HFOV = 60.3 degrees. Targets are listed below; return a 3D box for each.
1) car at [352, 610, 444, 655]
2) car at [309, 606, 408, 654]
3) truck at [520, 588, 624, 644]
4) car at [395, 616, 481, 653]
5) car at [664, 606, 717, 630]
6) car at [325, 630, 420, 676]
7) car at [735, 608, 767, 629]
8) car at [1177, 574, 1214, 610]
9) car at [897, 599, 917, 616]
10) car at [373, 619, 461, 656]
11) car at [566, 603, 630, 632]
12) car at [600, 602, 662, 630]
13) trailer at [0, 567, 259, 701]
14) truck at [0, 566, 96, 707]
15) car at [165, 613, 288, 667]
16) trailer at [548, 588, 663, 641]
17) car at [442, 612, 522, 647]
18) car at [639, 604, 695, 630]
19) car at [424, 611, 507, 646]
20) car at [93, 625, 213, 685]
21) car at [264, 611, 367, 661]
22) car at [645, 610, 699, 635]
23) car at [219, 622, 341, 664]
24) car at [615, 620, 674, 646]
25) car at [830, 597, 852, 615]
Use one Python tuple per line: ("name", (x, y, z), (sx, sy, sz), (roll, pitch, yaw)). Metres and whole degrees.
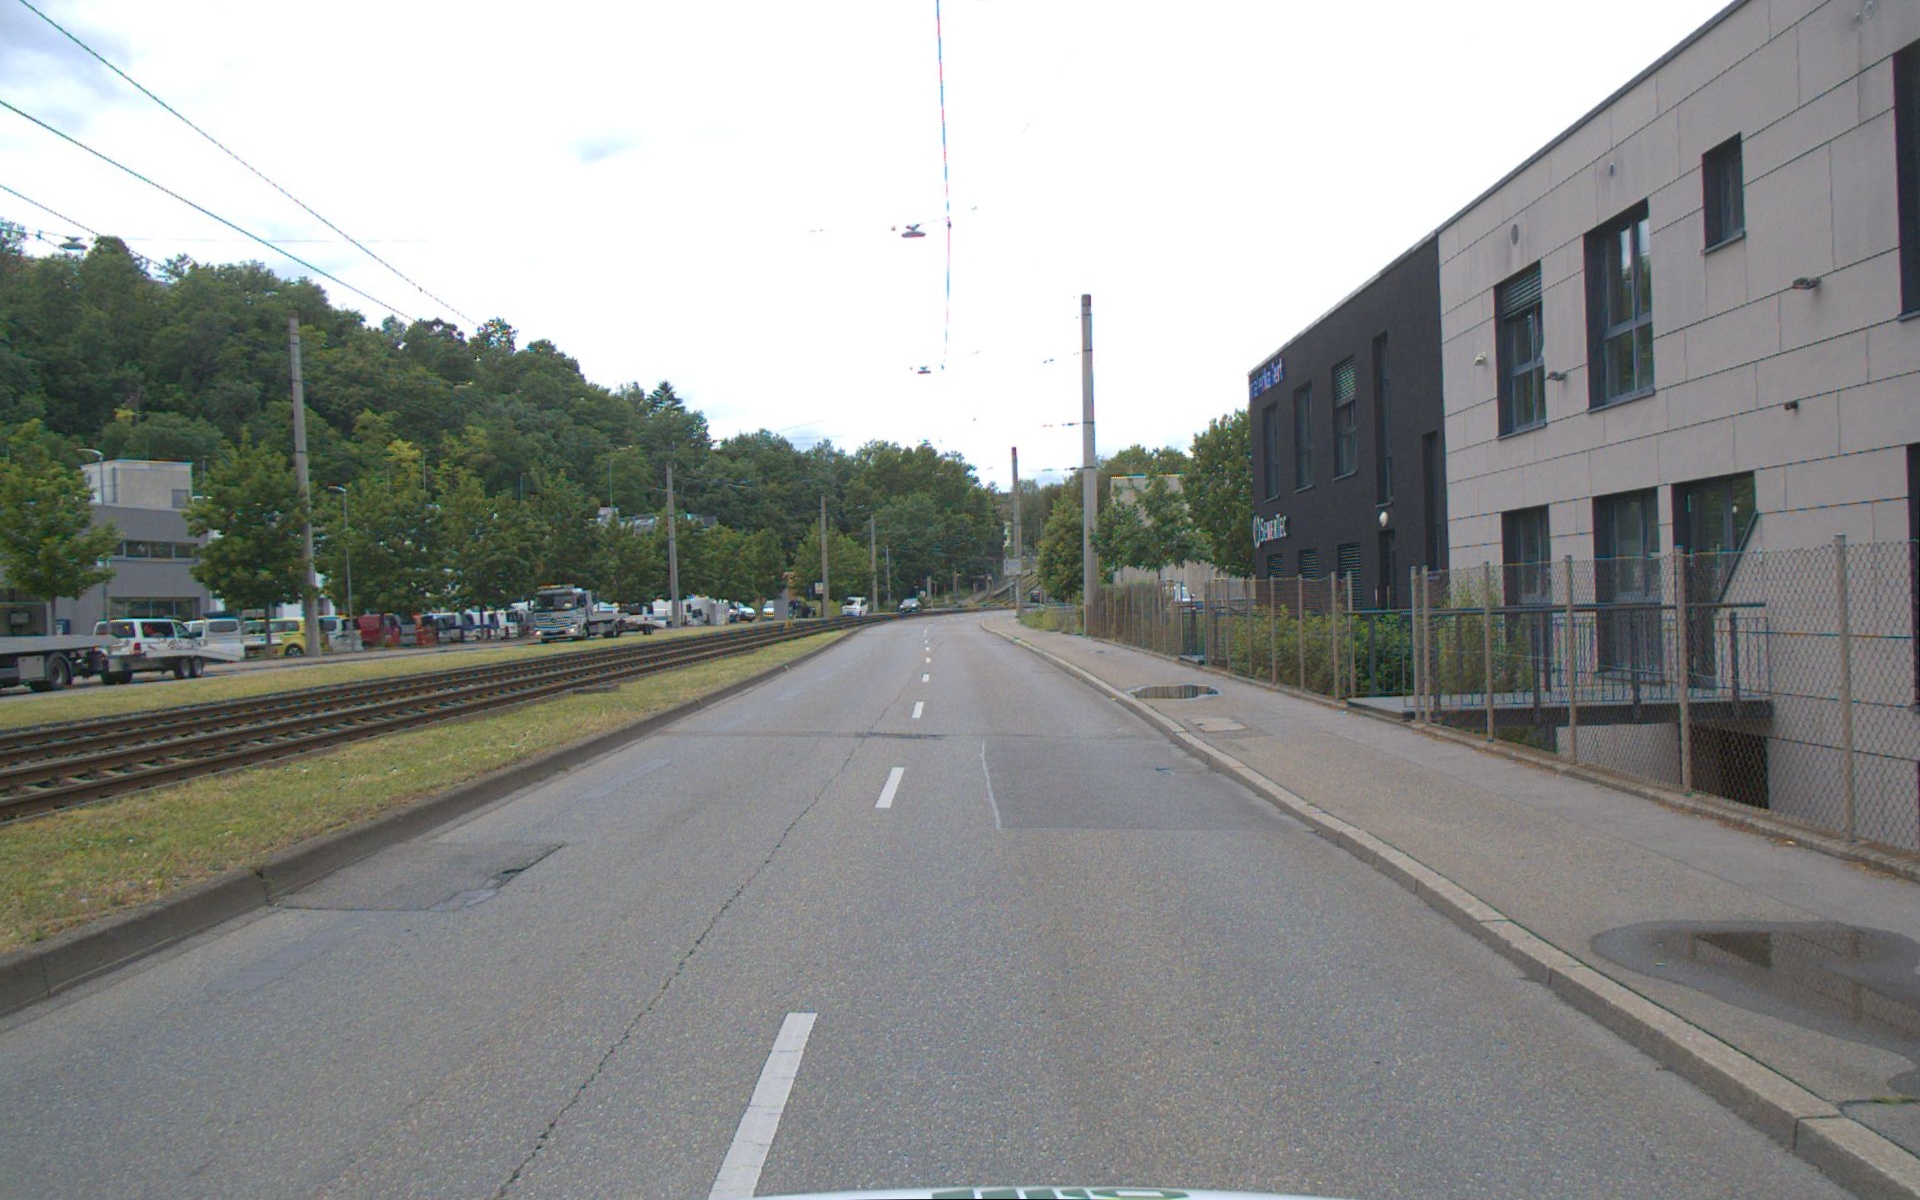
("car", (-28.458, 1.653, 83.841), (3.904, 2.049, 2.000), (-2, -4, 2))
("car", (-28.597, 1.454, 78.698), (3.904, 2.049, 2.000), (-2, -4, 2))
("truck", (-19.564, 0.757, 83.863), (2.822, 2.634, 6.916), (-2, 0, 7))
("car", (-27.882, 1.825, 88.415), (3.902, 1.735, 1.835), (-2, 1, 6))
("car", (-22.127, 1.500, 135.900), (3.902, 1.736, 1.835), (-2, -4, 6))
("car", (-28.778, 2.630, 81.130), (3.904, 2.049, 2.000), (-2, -4, 2))
("car", (-20.027, 1.822, 158.461), (1.789, 1.736, 4.145), (-3, -4, 10))
("car", (12.289, -0.423, 86.047), (1.789, 1.735, 3.809), (-2, 0, 9))
("car", (-5.595, 0.775, 175.575), (1.953, 1.668, 4.000), (-2, 0, 0))
("car", (-28.299, 1.935, 86.201), (3.902, 1.736, 1.835), (-2, -1, 6))
("car", (-24.960, 1.239, 114.103), (3.902, 1.736, 1.835), (-2, -4, 6))
("car", (-23.408, 1.129, 117.757), (3.902, 1.736, 1.835), (-2, -4, 6))
("trailer", (-22.084, 0.798, 43.126), (2.833, 3.034, 10.792), (-2, 0, 1))
("truck", (-22.203, 0.834, 36.117), (2.823, 3.042, 6.912), (-2, 0, 1))
("car", (-29.631, 1.654, 66.820), (4.501, 1.932, 1.999), (-4, -4, 22))
("trailer", (-18.911, 0.717, 89.047), (2.831, 2.628, 10.002), (-2, 0, 7))
("car", (-27.064, 1.652, 93.661), (3.902, 1.735, 1.835), (-2, 0, 6))
("car", (-22.692, 1.315, 128.250), (3.902, 1.736, 1.835), (-2, -4, 6))
("car", (-27.228, 1.573, 91.166), (3.902, 1.735, 1.835), (-2, 0, 6))
("car", (-29.156, 2.032, 59.933), (1.952, 1.932, 4.610), (-2, -4, 2))
("car", (-29.375, 1.641, 75.480), (3.904, 2.049, 2.000), (-2, -4, 2))
("car", (-22.961, 1.812, 131.964), (3.902, 1.736, 1.835), (-2, -4, 6))
("car", (-29.795, 1.917, 72.520), (4.500, 1.602, 2.000), (-2, -4, 1))
("car", (-23.450, 2.437, 122.981), (3.902, 1.735, 1.835), (-2, 1, 6))
("car", (-12.040, 0.593, 167.307), (1.953, 1.668, 4.000), (-2, 0, 0))
